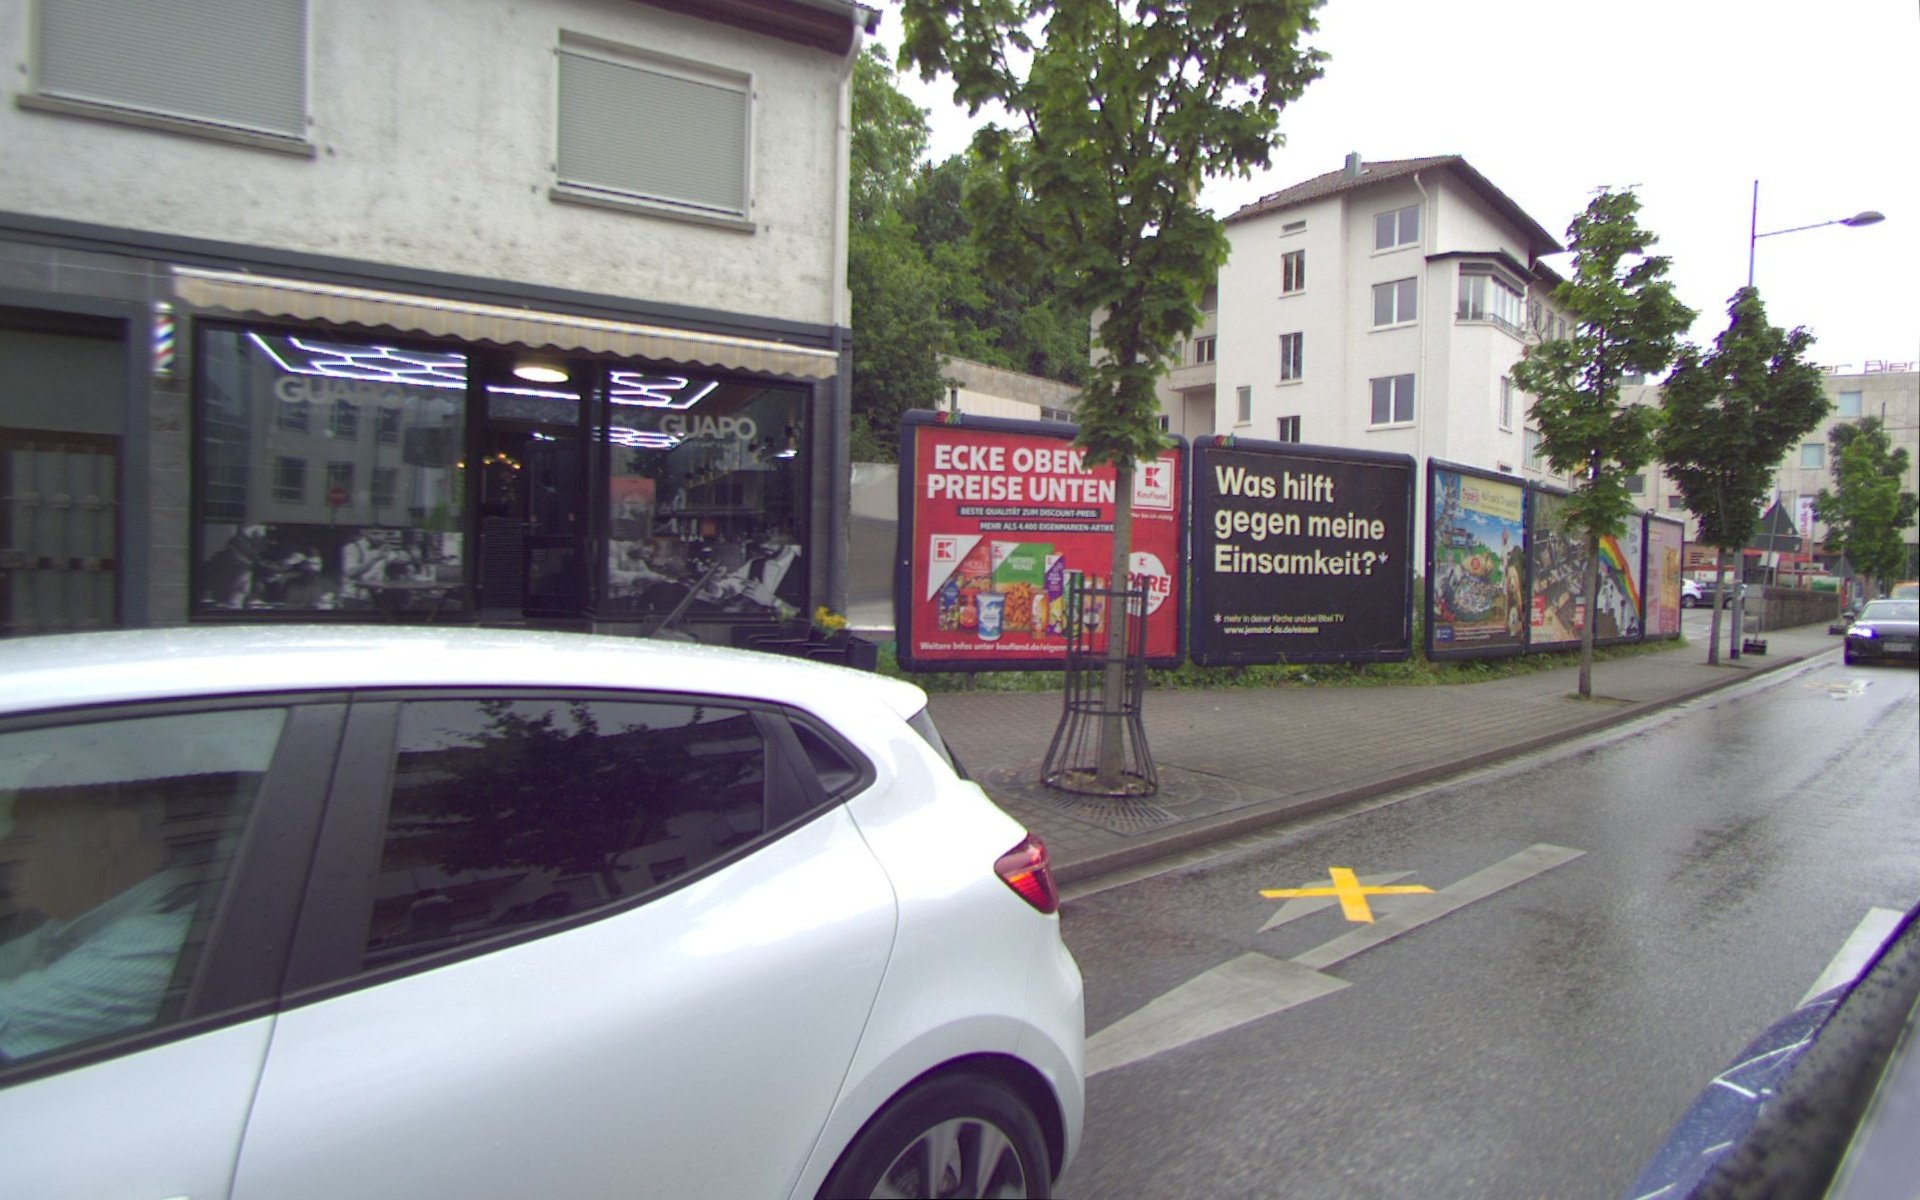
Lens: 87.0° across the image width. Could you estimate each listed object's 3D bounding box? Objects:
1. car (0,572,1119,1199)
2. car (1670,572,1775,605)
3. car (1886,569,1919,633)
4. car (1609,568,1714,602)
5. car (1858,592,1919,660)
[{"bbox_3d":[-1.717,0.707,1.419,3.931,1.420,1.680,0,4,-42],"label":"car"},{"bbox_3d":[42.538,-0.631,56.566,4.178,1.595,1.939,3,0,11],"label":"car"},{"bbox_3d":[34.116,-0.026,35.249,5.832,2.111,2.196,-1,2,-42],"label":"car"},{"bbox_3d":[37.782,-0.804,54.566,4.170,1.595,1.943,3,0,6],"label":"car"},{"bbox_3d":[21.297,0.538,22.494,1.808,1.356,4.210,2,2,44],"label":"car"}]
